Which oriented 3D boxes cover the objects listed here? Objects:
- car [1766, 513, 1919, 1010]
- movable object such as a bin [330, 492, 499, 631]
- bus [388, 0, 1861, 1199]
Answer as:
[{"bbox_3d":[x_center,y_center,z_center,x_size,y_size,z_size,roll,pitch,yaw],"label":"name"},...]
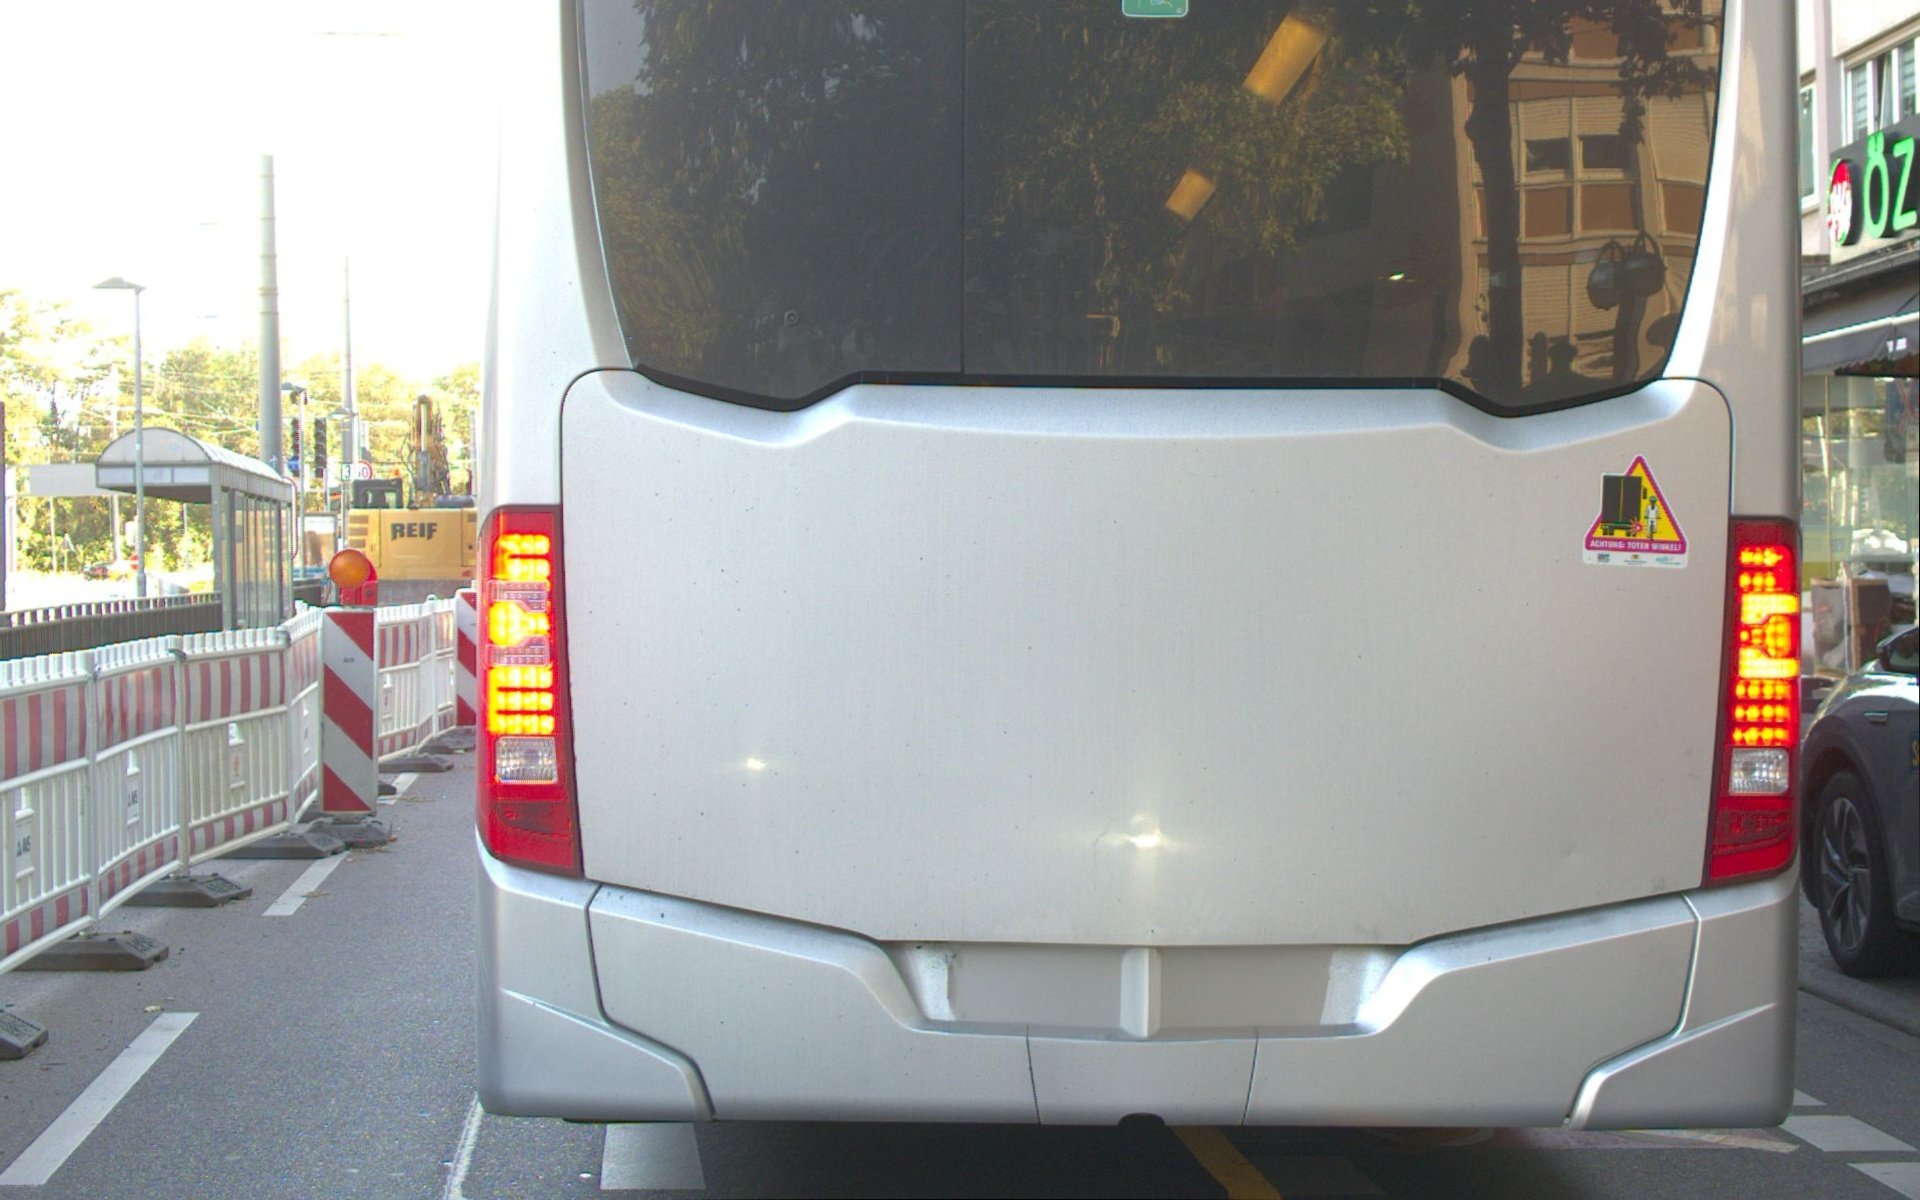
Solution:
[{"bbox_3d":[3.995,0.492,10.300,1.739,1.592,4.300,-3,1,-5],"label":"car"},{"bbox_3d":[-10.049,-0.718,63.667,2.806,2.453,4.001,-1,1,-5],"label":"movable object such as a bin"},{"bbox_3d":[0.266,-0.286,11.244,2.608,3.159,10.292,0,1,0],"label":"bus"}]
